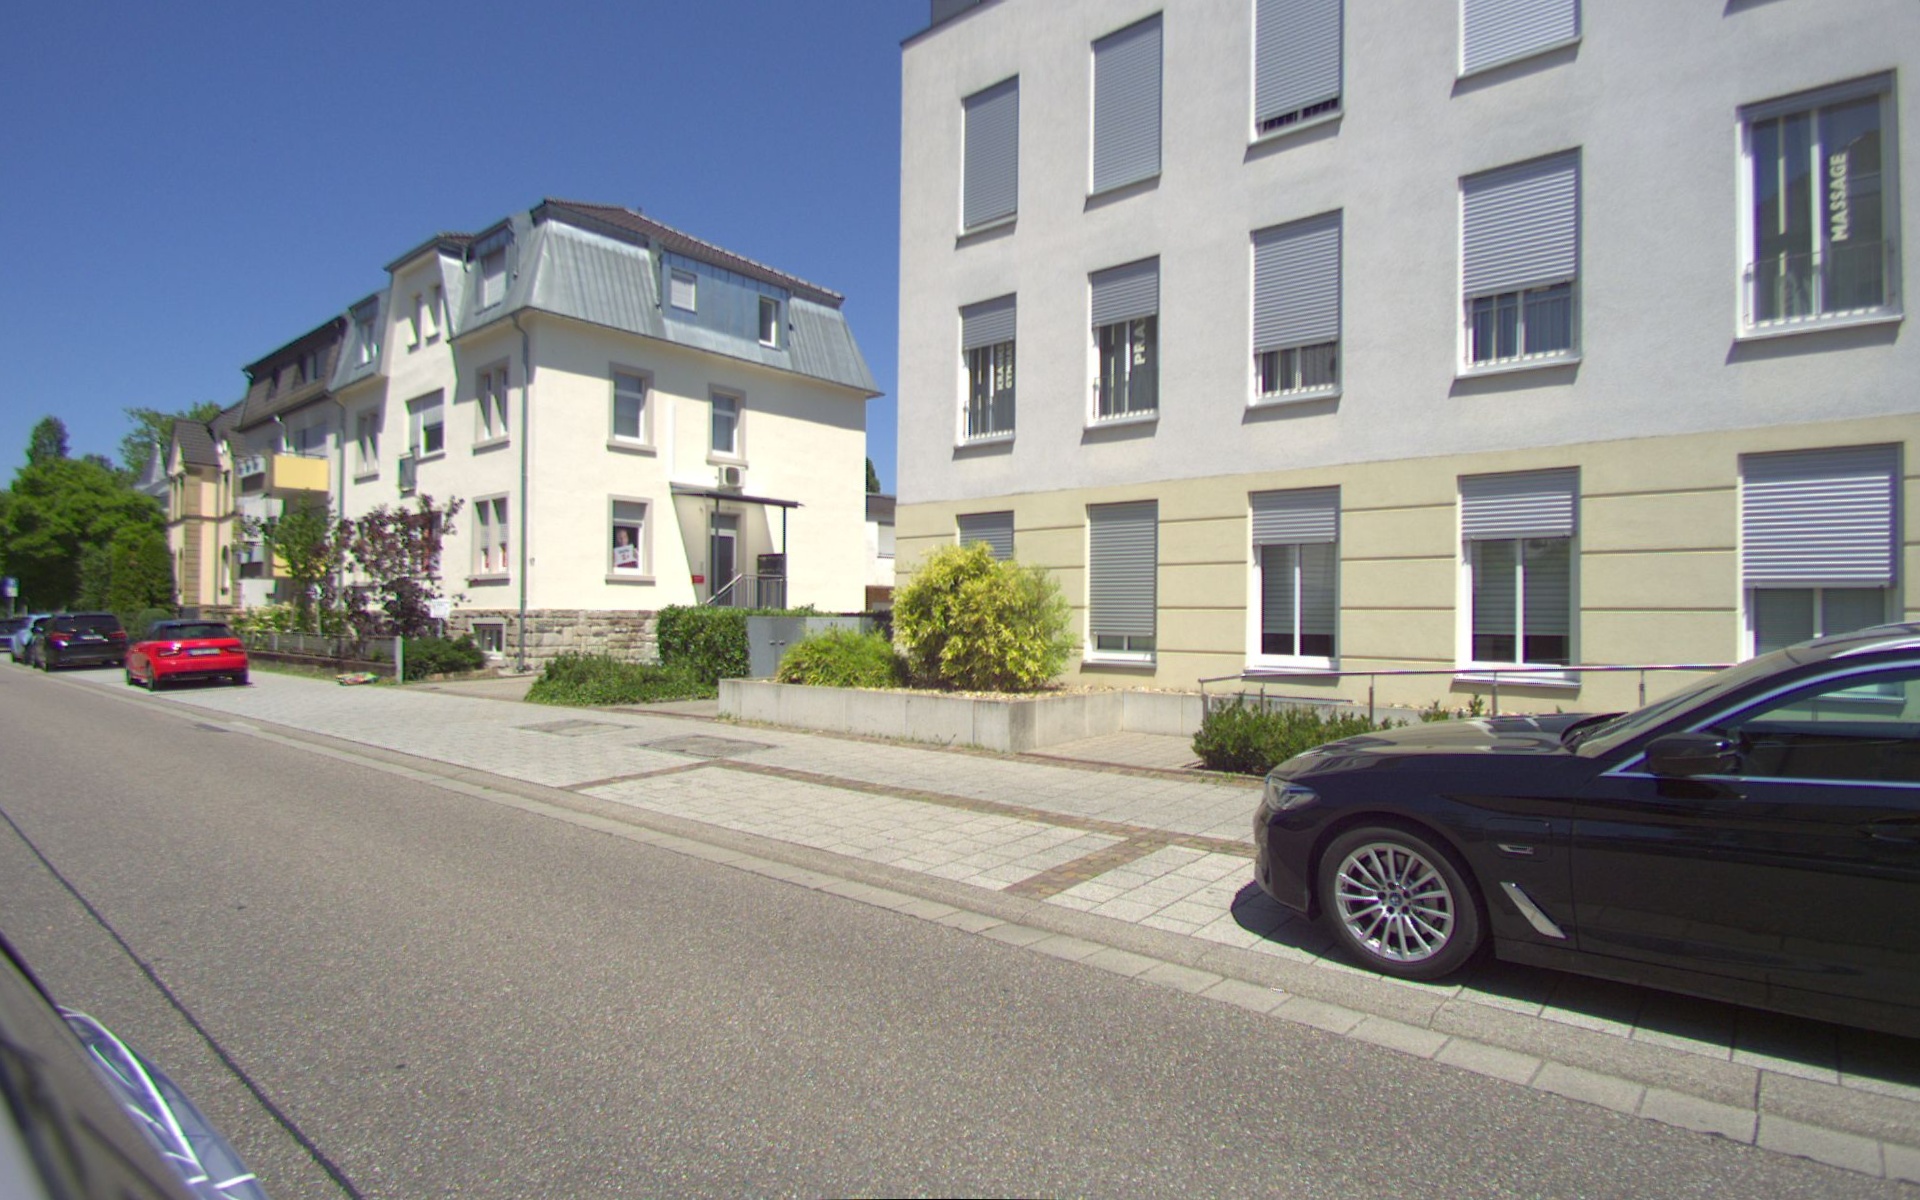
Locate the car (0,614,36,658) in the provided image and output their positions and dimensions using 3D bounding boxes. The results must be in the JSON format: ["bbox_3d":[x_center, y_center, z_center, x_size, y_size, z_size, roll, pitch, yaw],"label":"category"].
[{"bbox_3d":[-40.448,1.502,42.609,4.287,1.703,1.900,-1,1,43],"label":"car"}]

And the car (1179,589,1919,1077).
[{"bbox_3d":[3.597,0.712,3.802,5.147,1.463,1.896,-1,1,42],"label":"car"}]

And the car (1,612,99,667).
[{"bbox_3d":[-29.730,1.241,33.015,4.286,1.598,1.900,-1,1,42],"label":"car"}]

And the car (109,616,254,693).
[{"bbox_3d":[-17.008,1.111,22.036,4.258,1.463,1.714,-1,1,42],"label":"car"}]

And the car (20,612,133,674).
[{"bbox_3d":[-25.642,1.189,29.312,4.434,1.598,1.900,-1,1,42],"label":"car"}]
